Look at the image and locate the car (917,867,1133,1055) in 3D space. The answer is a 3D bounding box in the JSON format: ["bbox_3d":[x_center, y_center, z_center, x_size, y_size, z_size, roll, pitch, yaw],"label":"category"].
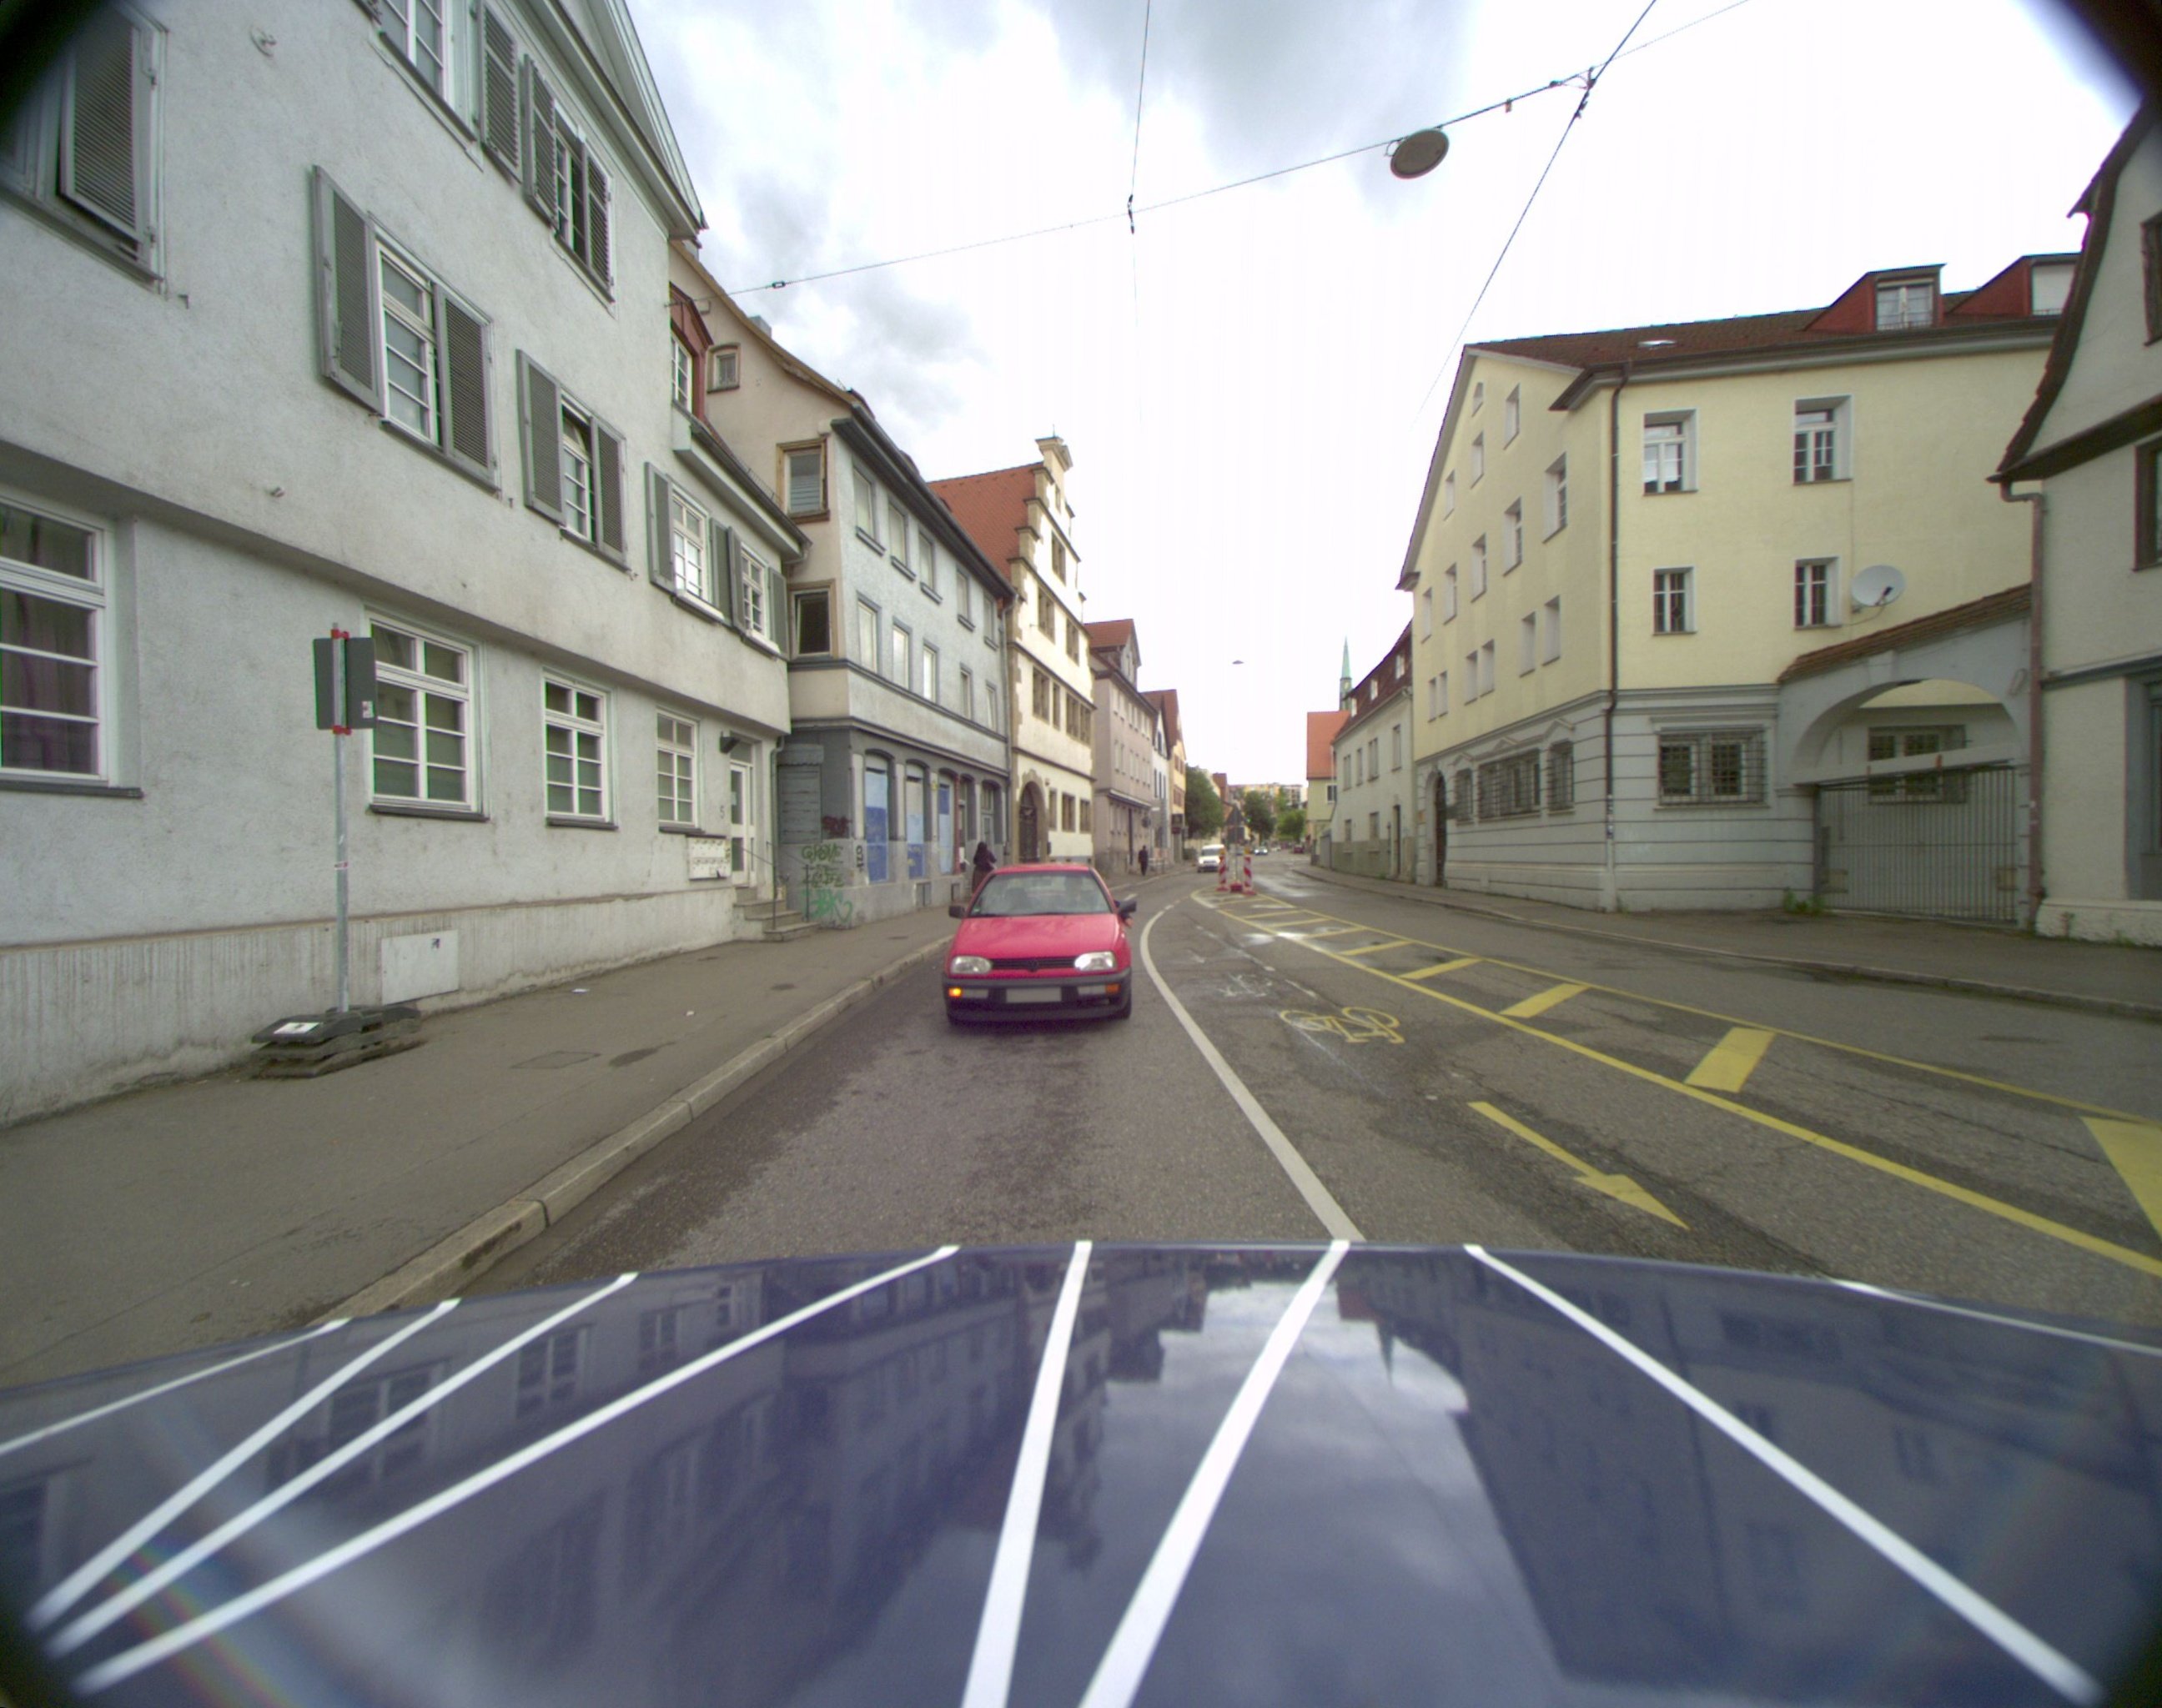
[{"bbox_3d":[-0.419,0.881,8.012,1.685,1.418,4.021,-1,0,1],"label":"car"}]

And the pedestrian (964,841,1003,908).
[{"bbox_3d":[-2.527,0.522,19.763,0.756,1.658,0.810,2,1,10],"label":"pedestrian"}]

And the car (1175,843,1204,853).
[{"bbox_3d":[16.272,-0.882,113.617,3.992,1.455,2.002,-1,1,17],"label":"car"}]

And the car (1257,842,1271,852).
[{"bbox_3d":[30.393,-1.160,126.144,1.996,1.669,4.004,-1,1,15],"label":"car"}]

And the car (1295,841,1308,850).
[{"bbox_3d":[42.622,-1.667,146.792,2.210,1.668,4.502,0,1,14],"label":"car"}]

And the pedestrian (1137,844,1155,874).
[{"bbox_3d":[3.588,0.292,41.933,0.833,1.646,0.945,-1,0,15],"label":"pedestrian"}]

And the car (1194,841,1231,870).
[{"bbox_3d":[8.777,0.055,50.463,1.996,1.777,4.471,0,2,15],"label":"car"}]

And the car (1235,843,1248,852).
[{"bbox_3d":[28.292,-1.119,133.612,2.031,1.546,4.004,0,1,14],"label":"car"}]

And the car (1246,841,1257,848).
[{"bbox_3d":[34.610,-1.869,154.213,1.819,1.380,4.005,0,1,17],"label":"car"}]

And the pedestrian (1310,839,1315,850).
[{"bbox_3d":[44.798,-1.852,146.994,0.835,2.002,0.846,-1,1,13],"label":"pedestrian"}]
